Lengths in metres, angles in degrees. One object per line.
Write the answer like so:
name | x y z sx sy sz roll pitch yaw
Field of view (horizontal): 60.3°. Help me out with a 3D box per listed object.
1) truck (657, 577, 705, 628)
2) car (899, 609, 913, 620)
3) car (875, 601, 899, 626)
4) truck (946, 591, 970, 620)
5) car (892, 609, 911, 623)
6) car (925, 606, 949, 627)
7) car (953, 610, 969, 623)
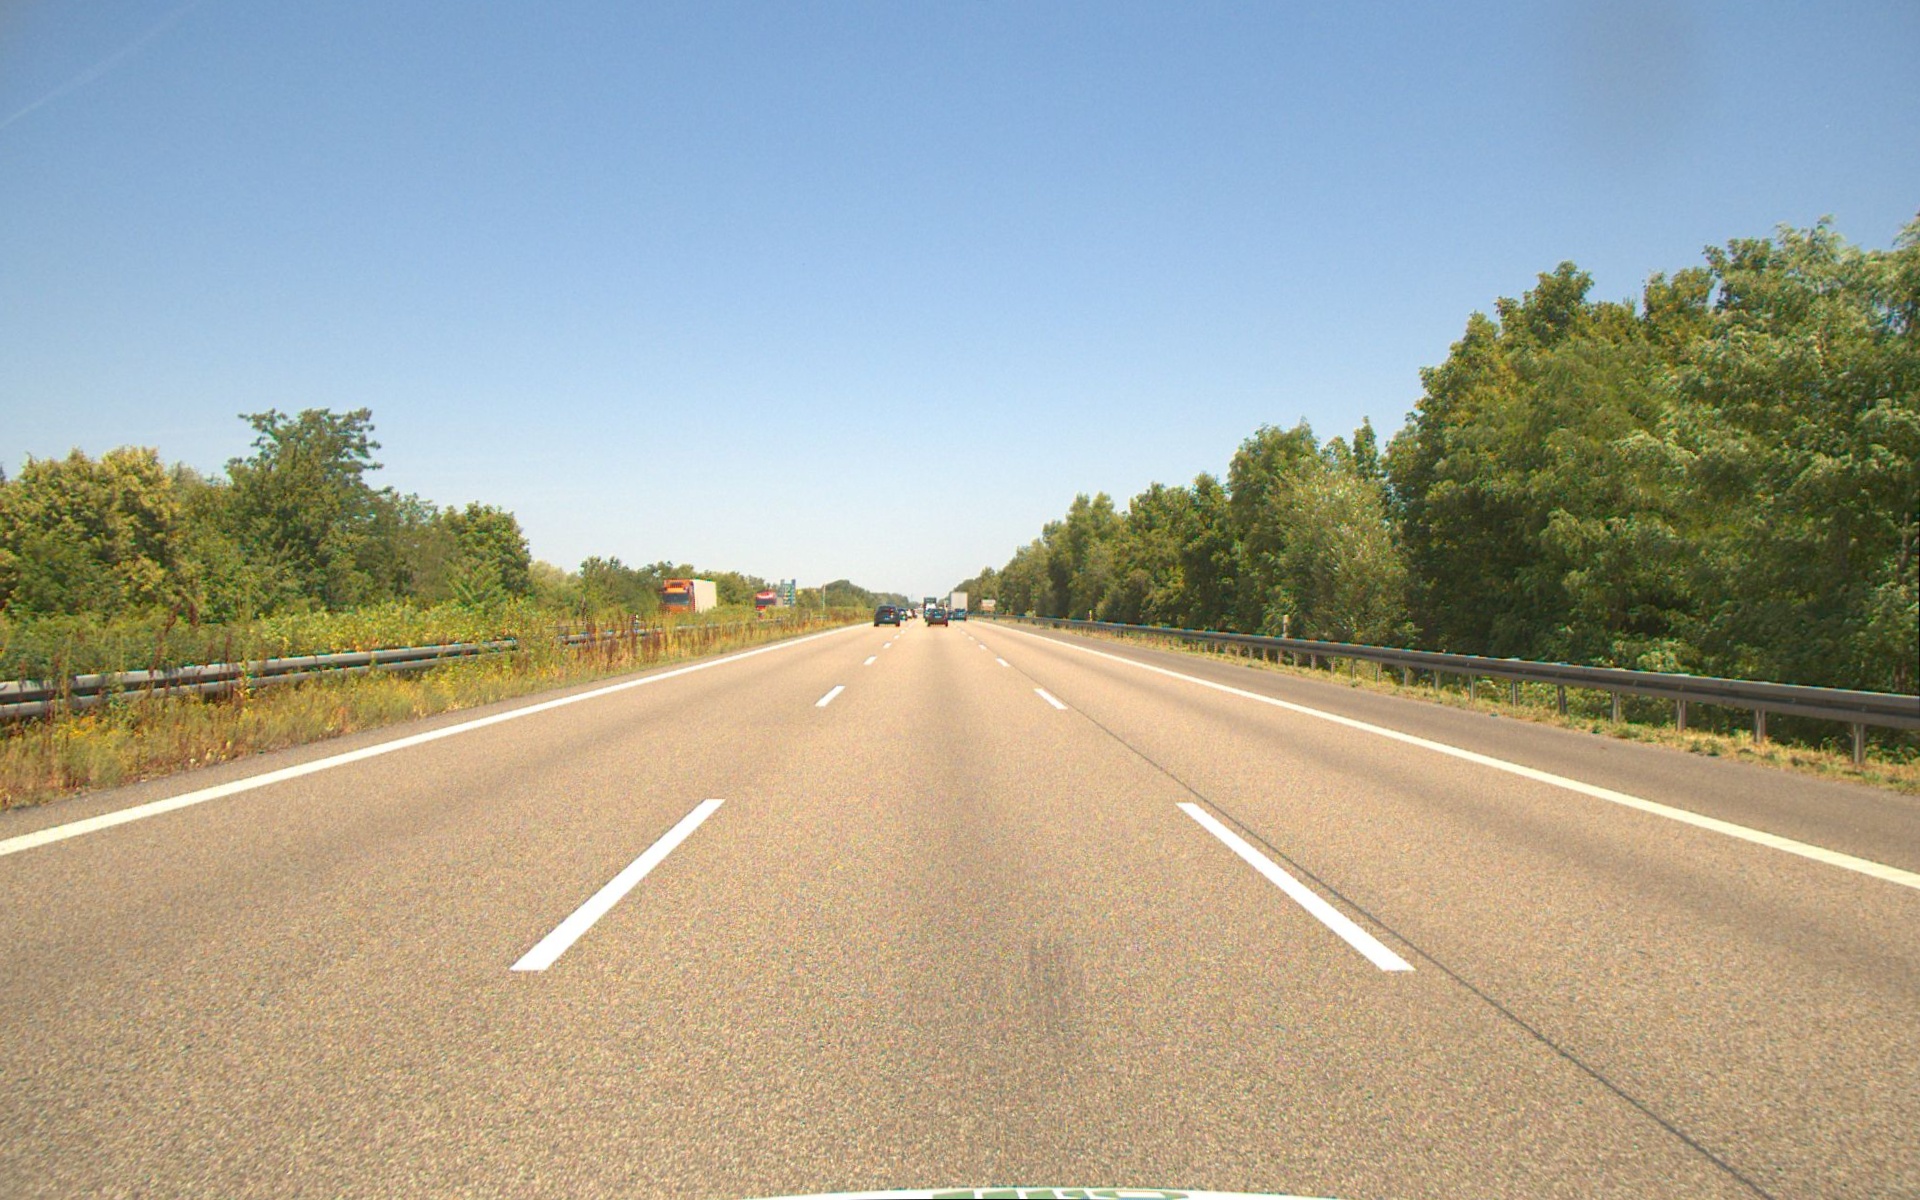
truck | -23.041 0.233 136.993 2.677 4.004 7.414 -2 0 -1
car | -8.176 2.163 251.422 2.085 1.674 4.303 -1 0 -1
car | -5.632 1.023 128.311 1.842 1.823 3.999 0 1 -2
truck | -0.347 0.831 243.880 3.316 4.040 9.535 -1 0 -1
car | -6.855 1.896 194.744 2.085 1.674 4.303 -1 0 -1
car | -1.858 1.340 133.016 1.864 1.611 4.303 -1 0 -1
car | 0.108 2.056 212.084 2.085 1.611 4.303 -1 0 -1
